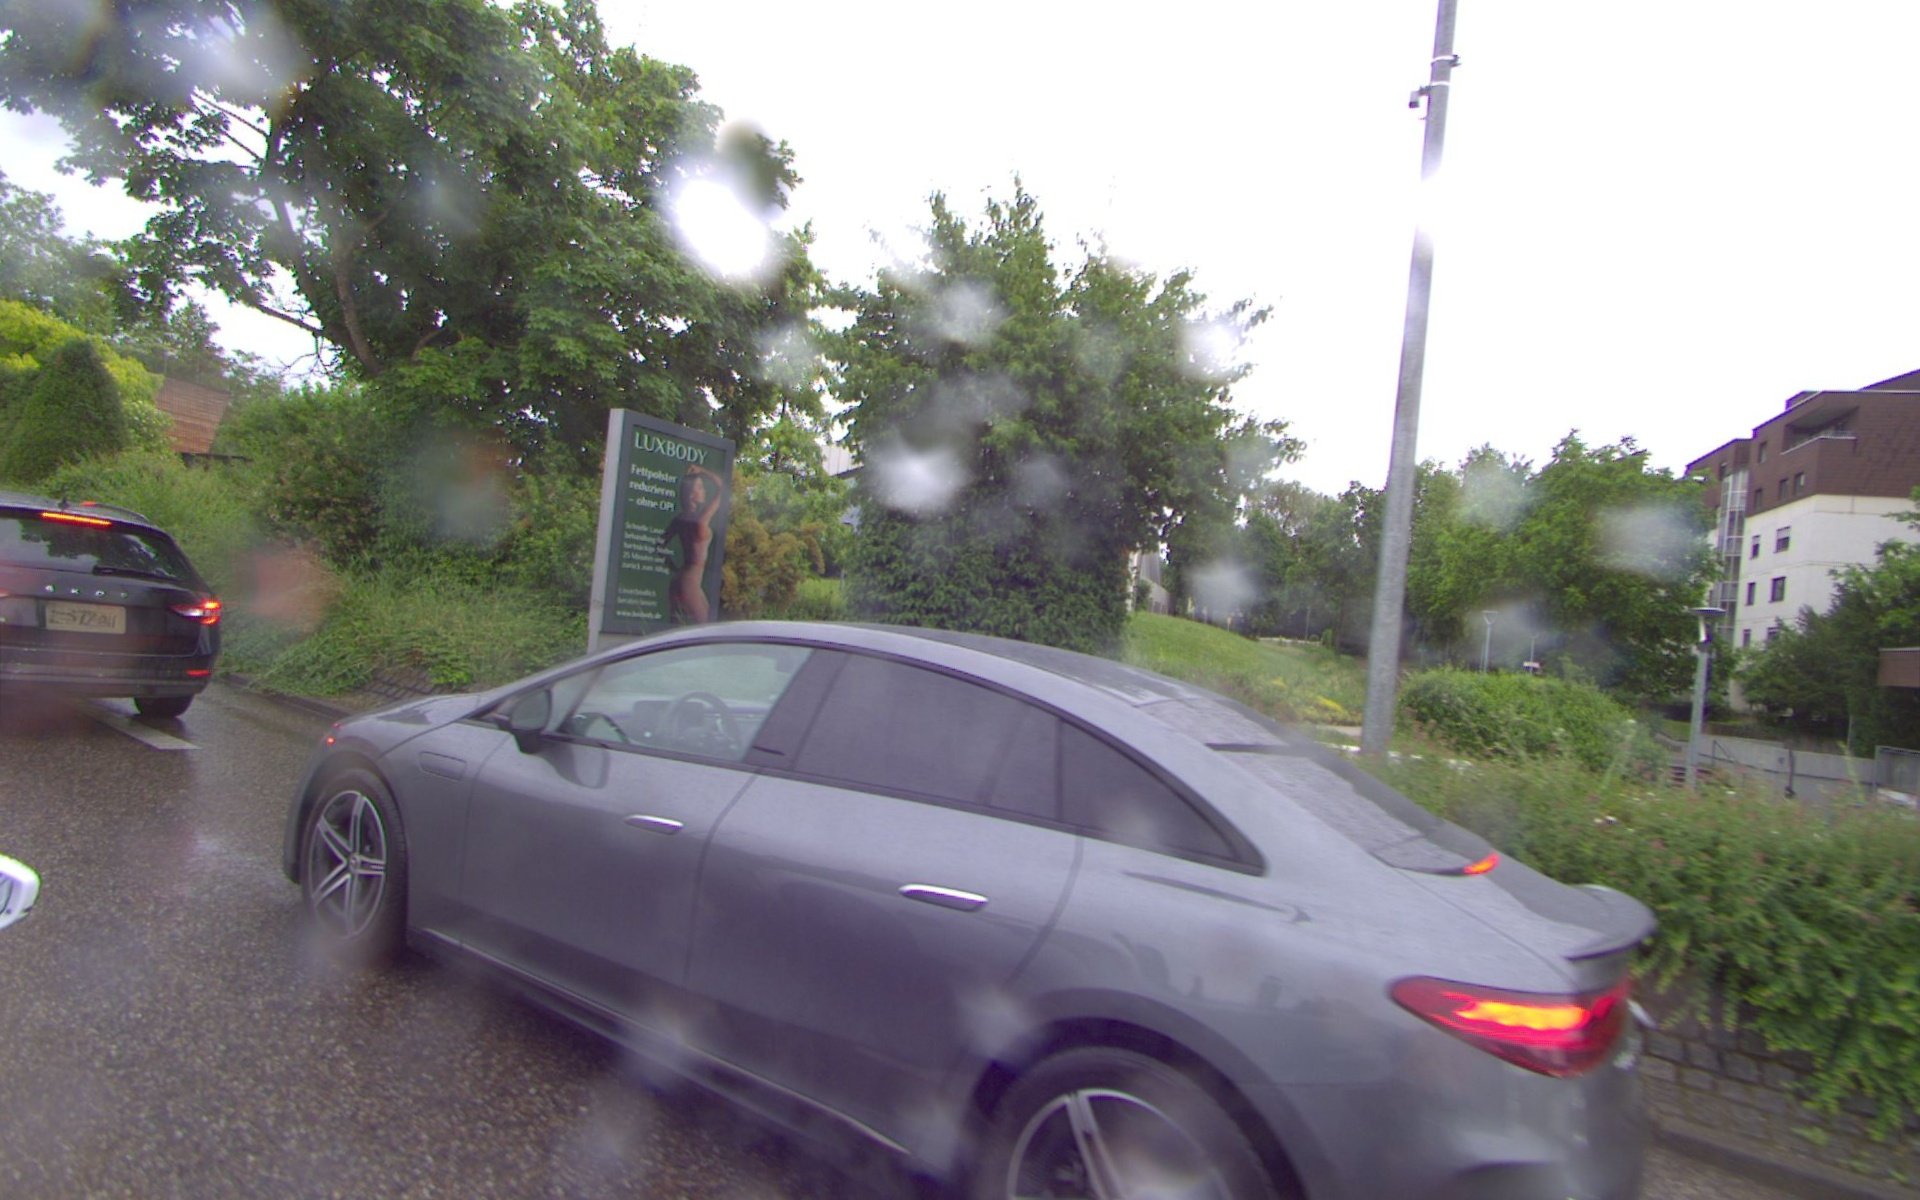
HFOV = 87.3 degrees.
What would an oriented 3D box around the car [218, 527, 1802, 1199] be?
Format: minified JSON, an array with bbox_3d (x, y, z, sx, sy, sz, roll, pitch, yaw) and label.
[{"bbox_3d":[-0.367,0.809,3.543,4.727,1.483,1.842,8,-2,31],"label":"car"}]

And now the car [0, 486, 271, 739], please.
[{"bbox_3d":[-7.184,-0.106,7.441,4.279,1.483,1.841,8,-2,33],"label":"car"}]
